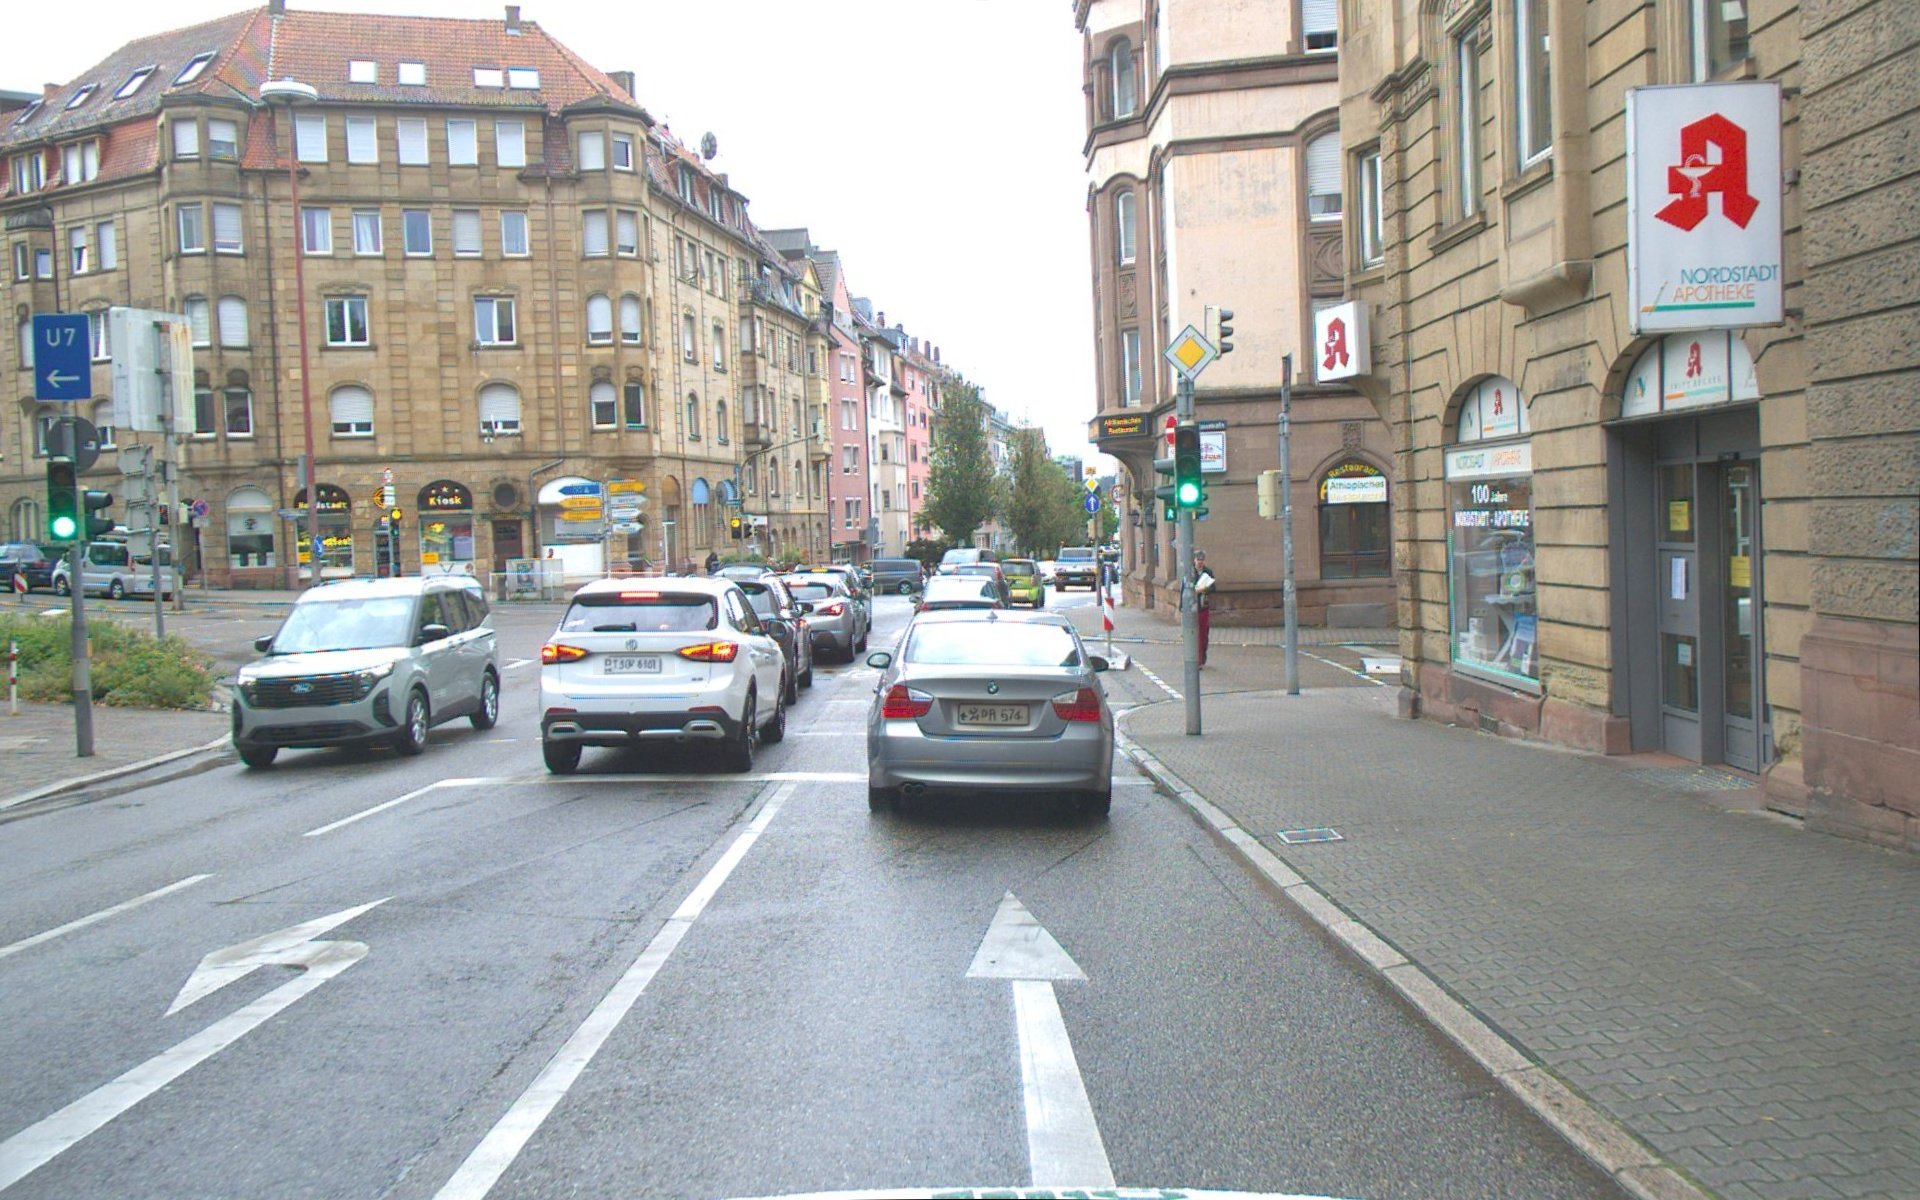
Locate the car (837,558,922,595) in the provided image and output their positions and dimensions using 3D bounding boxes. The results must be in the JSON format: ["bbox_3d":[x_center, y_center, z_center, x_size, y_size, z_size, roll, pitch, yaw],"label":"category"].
[{"bbox_3d":[-4.377,-1.301,90.331,4.580,1.972,1.863,0,1,-2],"label":"car"}]

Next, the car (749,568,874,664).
[{"bbox_3d":[-2.552,0.218,29.308,1.716,1.508,4.182,-1,2,1],"label":"car"}]

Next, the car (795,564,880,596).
[{"bbox_3d":[-6.308,-1.028,85.245,4.059,1.537,1.875,-1,1,8],"label":"car"}]

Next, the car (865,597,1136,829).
[{"bbox_3d":[0.235,0.722,12.497,1.733,1.453,3.740,0,0,-1],"label":"car"}]

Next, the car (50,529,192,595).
[{"bbox_3d":[-29.045,-1.319,57.223,4.695,2.206,1.998,0,1,27],"label":"car"}]

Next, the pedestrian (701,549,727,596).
[{"bbox_3d":[-9.122,-1.040,61.306,0.814,1.731,0.635,0,1,-21],"label":"pedestrian"}]

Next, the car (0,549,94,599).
[{"bbox_3d":[-33.437,-0.952,59.412,4.282,1.734,1.998,0,1,27],"label":"car"}]

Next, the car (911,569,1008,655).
[{"bbox_3d":[0.024,0.186,30.003,1.647,1.453,3.741,0,1,1],"label":"car"}]

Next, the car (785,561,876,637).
[{"bbox_3d":[-2.775,-0.037,36.224,1.716,1.562,4.214,0,0,-1],"label":"car"}]

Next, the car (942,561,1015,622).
[{"bbox_3d":[0.530,-0.239,43.218,1.662,1.509,3.796,0,0,4],"label":"car"}]

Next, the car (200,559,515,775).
[{"bbox_3d":[-6.351,0.622,18.004,1.777,1.913,4.241,-5,0,-1],"label":"car"}]

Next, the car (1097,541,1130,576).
[{"bbox_3d":[9.038,-2.409,97.289,1.774,1.937,4.003,1,0,7],"label":"car"}]

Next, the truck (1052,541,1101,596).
[{"bbox_3d":[5.375,-1.422,75.857,1.988,2.454,4.831,0,0,7],"label":"truck"}]

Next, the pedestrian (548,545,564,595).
[{"bbox_3d":[-14.489,-1.077,59.303,0.514,1.805,0.691,0,1,-16],"label":"pedestrian"}]

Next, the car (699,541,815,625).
[{"bbox_3d":[-4.827,-0.462,39.830,1.680,1.520,3.687,-12,2,7],"label":"car"}]

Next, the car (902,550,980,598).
[{"bbox_3d":[-0.820,-1.050,68.457,1.719,1.878,4.116,-2,1,-24],"label":"car"}]

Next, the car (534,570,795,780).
[{"bbox_3d":[-2.599,0.586,15.528,1.716,1.673,4.378,0,0,-1],"label":"car"}]

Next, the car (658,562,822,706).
[{"bbox_3d":[-2.897,0.372,22.575,1.716,1.673,4.213,0,3,-1],"label":"car"}]

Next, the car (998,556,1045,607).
[{"bbox_3d":[2.026,-0.598,53.826,1.418,1.593,3.335,0,0,4],"label":"car"}]

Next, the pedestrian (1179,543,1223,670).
[{"bbox_3d":[3.865,0.092,26.597,0.683,1.983,1.092,0,2,7],"label":"pedestrian"}]
